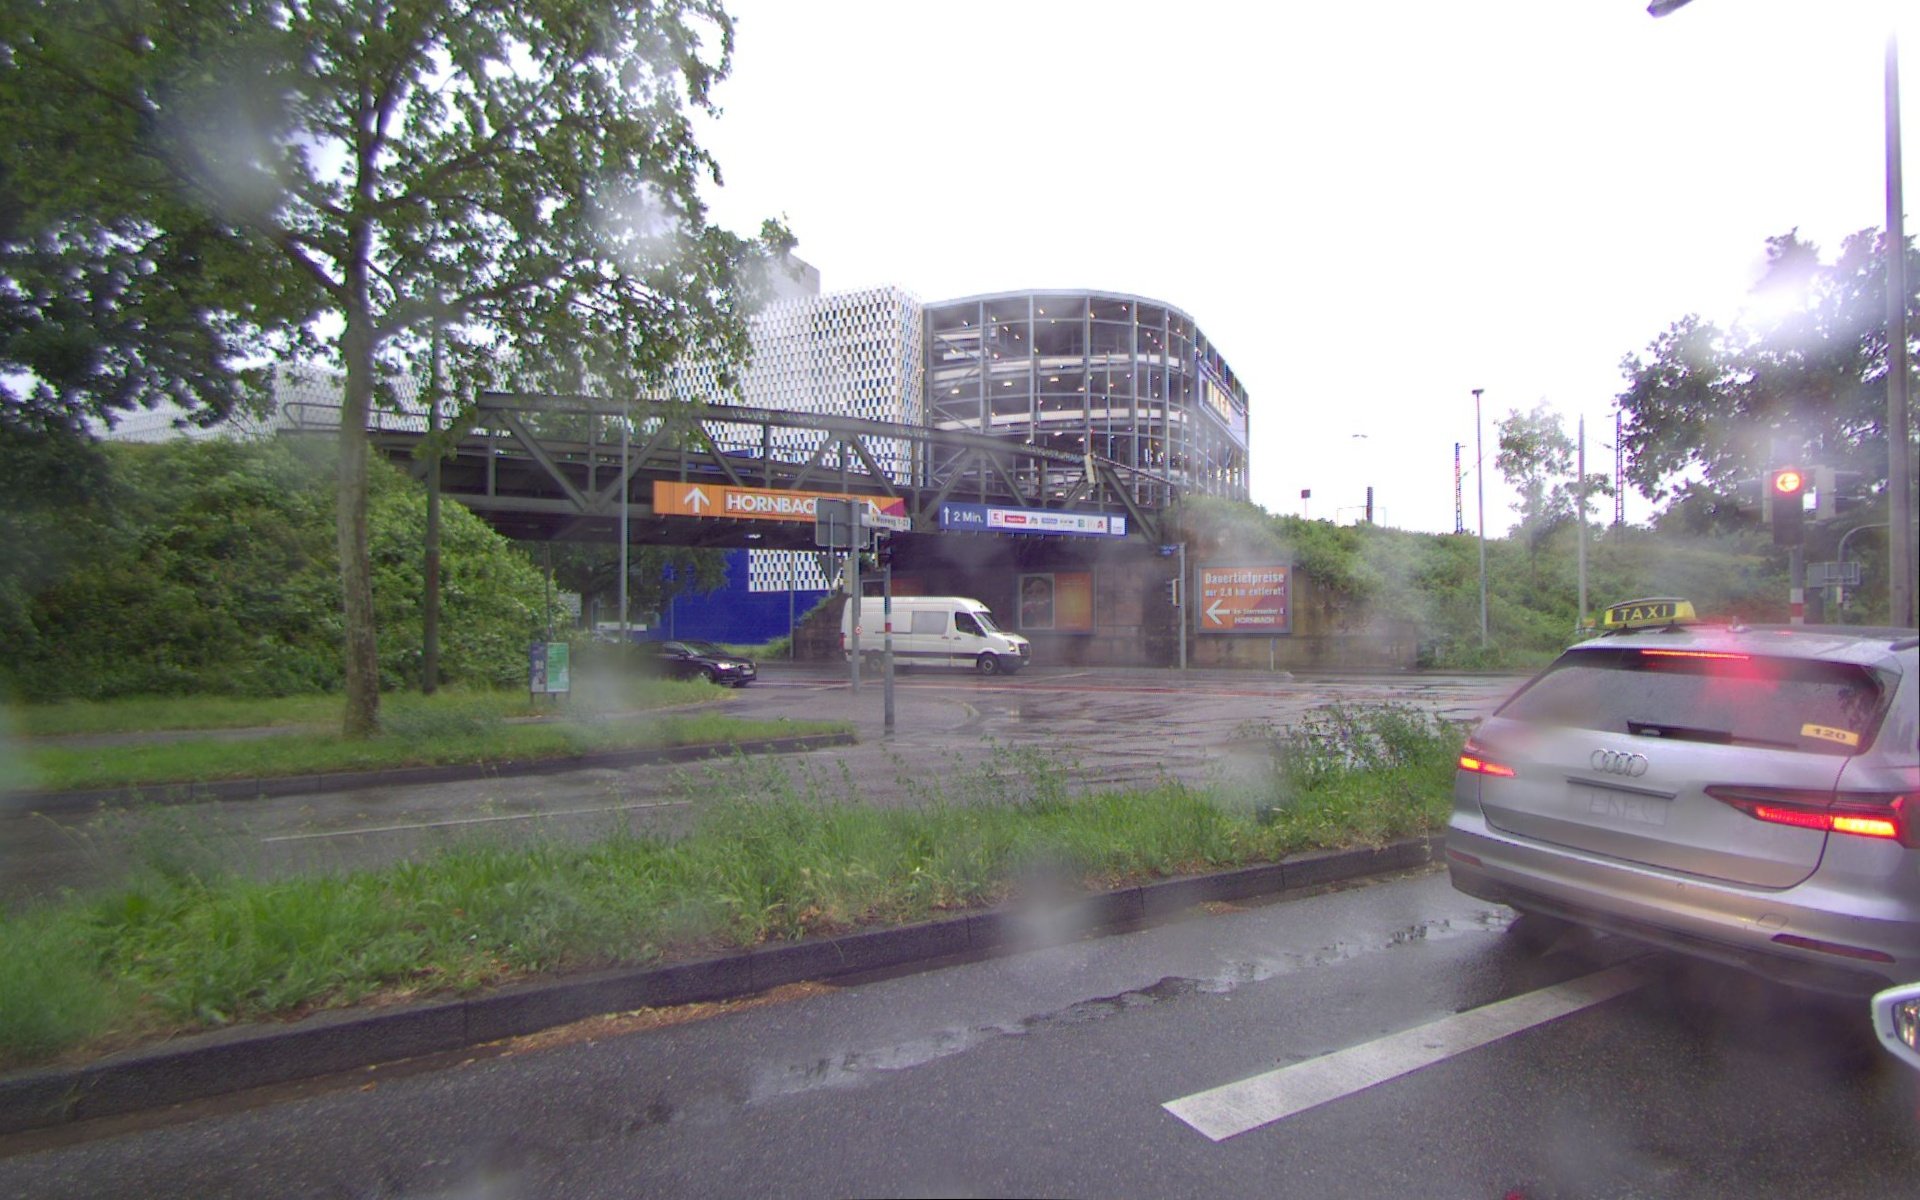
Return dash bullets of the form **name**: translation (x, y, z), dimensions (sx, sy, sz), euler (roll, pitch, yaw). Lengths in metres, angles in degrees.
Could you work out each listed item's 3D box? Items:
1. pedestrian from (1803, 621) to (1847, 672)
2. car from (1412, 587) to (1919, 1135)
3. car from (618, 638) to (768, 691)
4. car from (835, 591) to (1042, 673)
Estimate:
- **pedestrian**: translation (32.385, 1.732, 37.599), dimensions (1.122, 1.871, 1.092), euler (2, -2, -41)
- **car**: translation (4.450, 0.787, 4.835), dimensions (4.766, 1.595, 1.760), euler (1, 0, -31)
- **car**: translation (-7.833, 1.862, 29.499), dimensions (4.067, 1.453, 1.693), euler (-1, -1, 23)
- **car**: translation (-0.783, 1.110, 34.963), dimensions (6.847, 2.645, 2.386), euler (-1, -2, 25)
